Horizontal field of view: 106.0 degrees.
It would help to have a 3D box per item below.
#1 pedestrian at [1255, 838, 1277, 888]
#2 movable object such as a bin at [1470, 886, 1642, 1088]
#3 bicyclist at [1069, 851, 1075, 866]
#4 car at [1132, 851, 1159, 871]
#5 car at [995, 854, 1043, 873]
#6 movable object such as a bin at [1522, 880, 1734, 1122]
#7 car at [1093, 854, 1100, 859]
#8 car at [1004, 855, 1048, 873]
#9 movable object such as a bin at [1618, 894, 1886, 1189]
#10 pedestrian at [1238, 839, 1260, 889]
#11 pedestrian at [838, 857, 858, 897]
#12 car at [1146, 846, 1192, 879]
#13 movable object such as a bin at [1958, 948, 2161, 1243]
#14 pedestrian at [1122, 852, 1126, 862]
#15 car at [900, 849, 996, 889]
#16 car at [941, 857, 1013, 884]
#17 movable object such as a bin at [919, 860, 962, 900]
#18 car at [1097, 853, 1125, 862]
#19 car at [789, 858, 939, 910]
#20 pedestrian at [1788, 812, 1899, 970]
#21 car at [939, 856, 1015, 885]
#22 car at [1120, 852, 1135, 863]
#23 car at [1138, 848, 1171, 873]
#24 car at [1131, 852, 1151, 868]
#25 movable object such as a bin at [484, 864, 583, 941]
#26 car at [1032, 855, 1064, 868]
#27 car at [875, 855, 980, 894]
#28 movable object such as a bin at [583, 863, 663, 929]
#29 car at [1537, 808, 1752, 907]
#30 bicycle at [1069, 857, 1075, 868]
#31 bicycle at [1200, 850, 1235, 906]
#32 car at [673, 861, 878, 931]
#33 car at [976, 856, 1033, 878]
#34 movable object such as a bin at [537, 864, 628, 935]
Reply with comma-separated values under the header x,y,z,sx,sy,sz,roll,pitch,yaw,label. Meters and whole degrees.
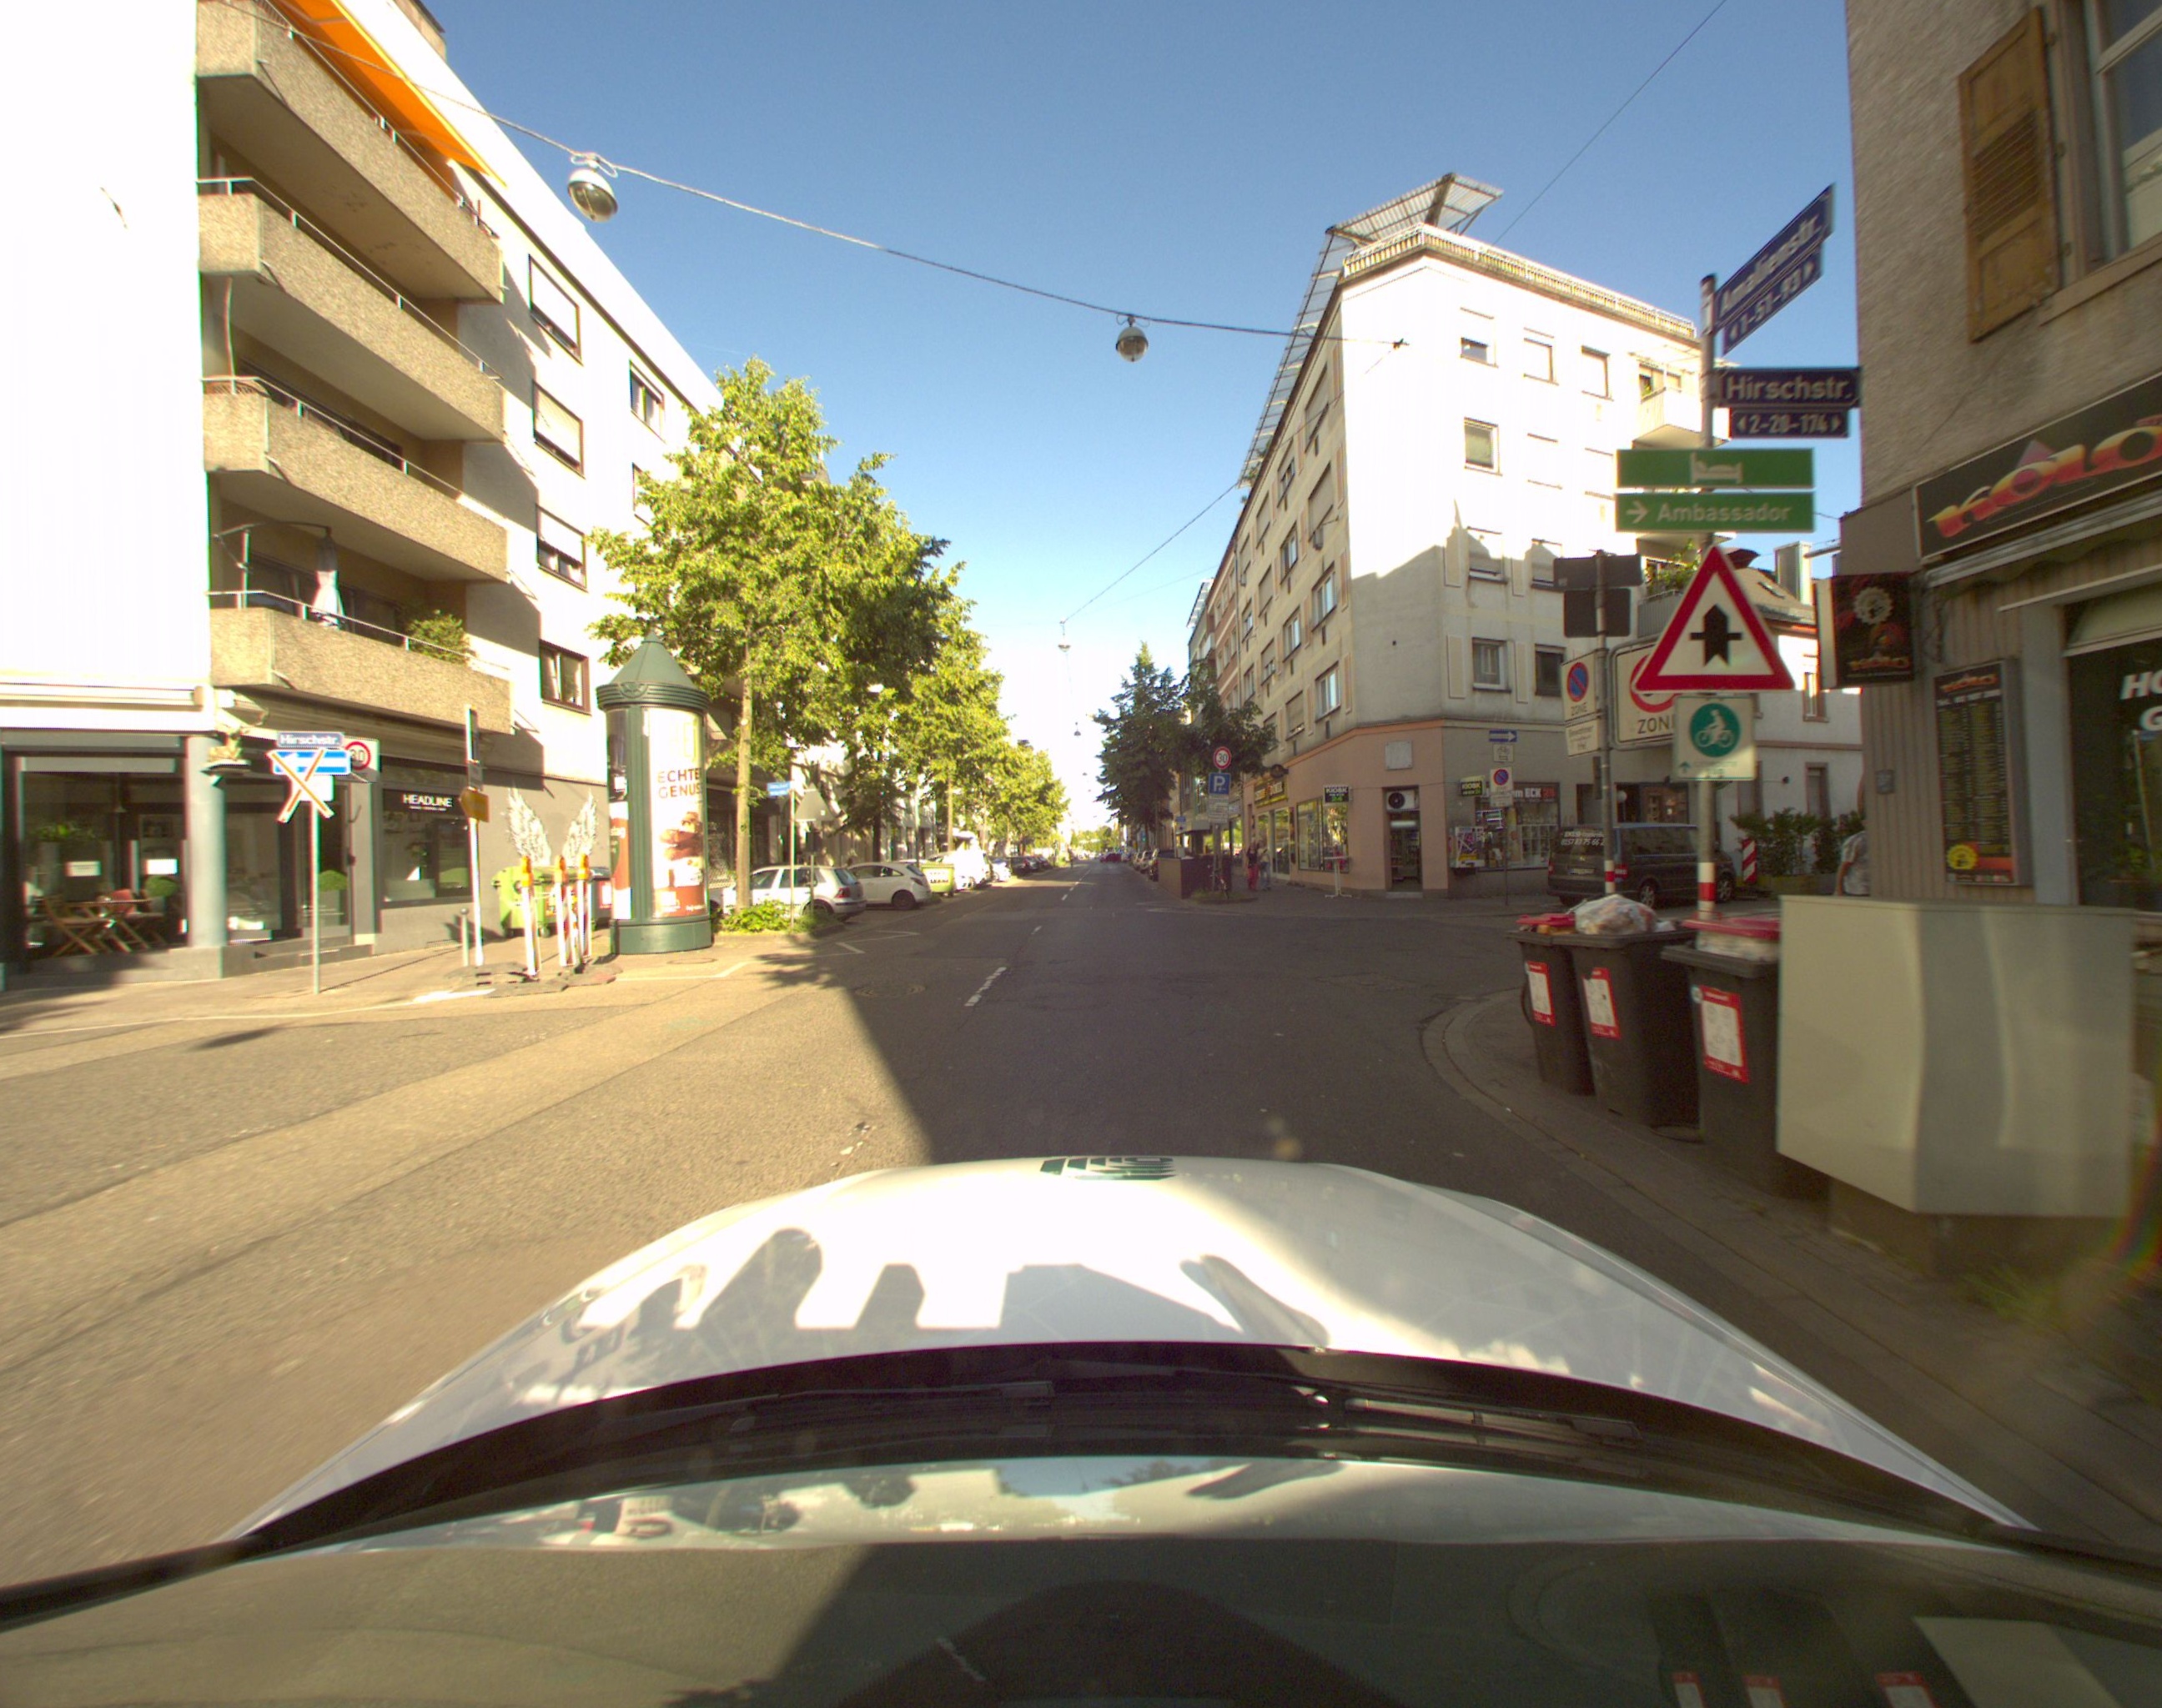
x,y,z,sx,sy,sz,roll,pitch,yaw,label
6.227,0.302,27.405,0.545,1.649,0.665,-2,0,1,pedestrian
3.081,0.824,5.344,0.657,1.180,0.739,-2,0,-1,movable object such as a bin
-0.991,0.442,86.001,0.558,1.548,0.728,-1,-1,1,bicyclist
5.385,0.567,68.497,1.986,1.609,4.001,-2,0,1,car
-5.439,0.835,71.336,3.974,1.500,2.000,-2,0,0,car
3.058,0.780,4.618,0.703,1.222,0.680,-2,0,-1,movable object such as a bin
4.396,0.649,230.805,1.786,1.411,4.001,-2,0,1,car
-5.183,0.923,77.579,3.974,1.500,2.000,-2,0,0,car
3.057,0.803,3.780,0.619,1.180,0.711,-2,0,-1,movable object such as a bin
5.658,0.330,27.427,0.545,1.649,0.665,-2,0,1,pedestrian
-9.779,0.961,34.156,0.544,1.649,0.665,-2,0,3,pedestrian
4.533,0.415,42.488,1.986,1.609,4.001,-2,0,1,car
3.869,0.841,3.006,0.561,0.896,0.628,-2,0,-1,movable object such as a bin
6.041,0.418,114.818,0.544,1.472,0.546,-2,0,-1,pedestrian
-6.122,0.675,37.794,3.967,1.694,2.003,-2,0,6,car
-6.223,0.997,49.122,3.974,1.500,2.000,-2,-1,0,car
-5.410,0.983,31.541,1.330,1.478,1.480,-2,0,1,movable object such as a bin
4.836,0.570,131.120,4.015,1.442,1.979,-1,-1,-33,car
-6.542,0.882,24.882,3.974,1.390,2.000,-2,0,0,car
8.332,0.392,8.925,0.545,1.649,0.665,-2,0,1,pedestrian
-5.899,0.917,46.610,3.974,1.500,2.000,-2,0,0,car
7.059,0.533,123.864,1.986,1.508,4.001,-1,-1,1,car
5.003,0.419,55.861,1.986,1.609,4.001,-2,0,1,car
6.513,0.609,88.828,1.986,1.609,4.001,-2,0,1,car
-11.223,0.967,16.745,1.136,1.485,1.235,-2,0,-1,movable object such as a bin
-4.267,0.961,105.527,3.974,1.500,2.000,-2,0,0,car
-6.553,0.859,35.000,3.967,1.457,1.871,-2,0,6,car
-11.124,0.990,19.831,1.168,1.485,1.314,-2,0,-1,movable object such as a bin
13.030,0.037,18.808,4.705,2.013,1.983,-2,0,-26,car
-0.973,0.902,85.982,0.558,1.180,1.629,-1,-1,2,bicycle
3.799,0.654,22.824,0.558,1.441,1.629,-8,0,1,bicycle
-7.043,0.941,19.100,3.974,1.390,2.000,-2,0,0,car
-5.658,0.939,60.564,3.974,1.500,2.000,-2,0,0,car
-11.108,0.989,18.200,1.168,1.485,1.314,-2,0,-1,movable object such as a bin
